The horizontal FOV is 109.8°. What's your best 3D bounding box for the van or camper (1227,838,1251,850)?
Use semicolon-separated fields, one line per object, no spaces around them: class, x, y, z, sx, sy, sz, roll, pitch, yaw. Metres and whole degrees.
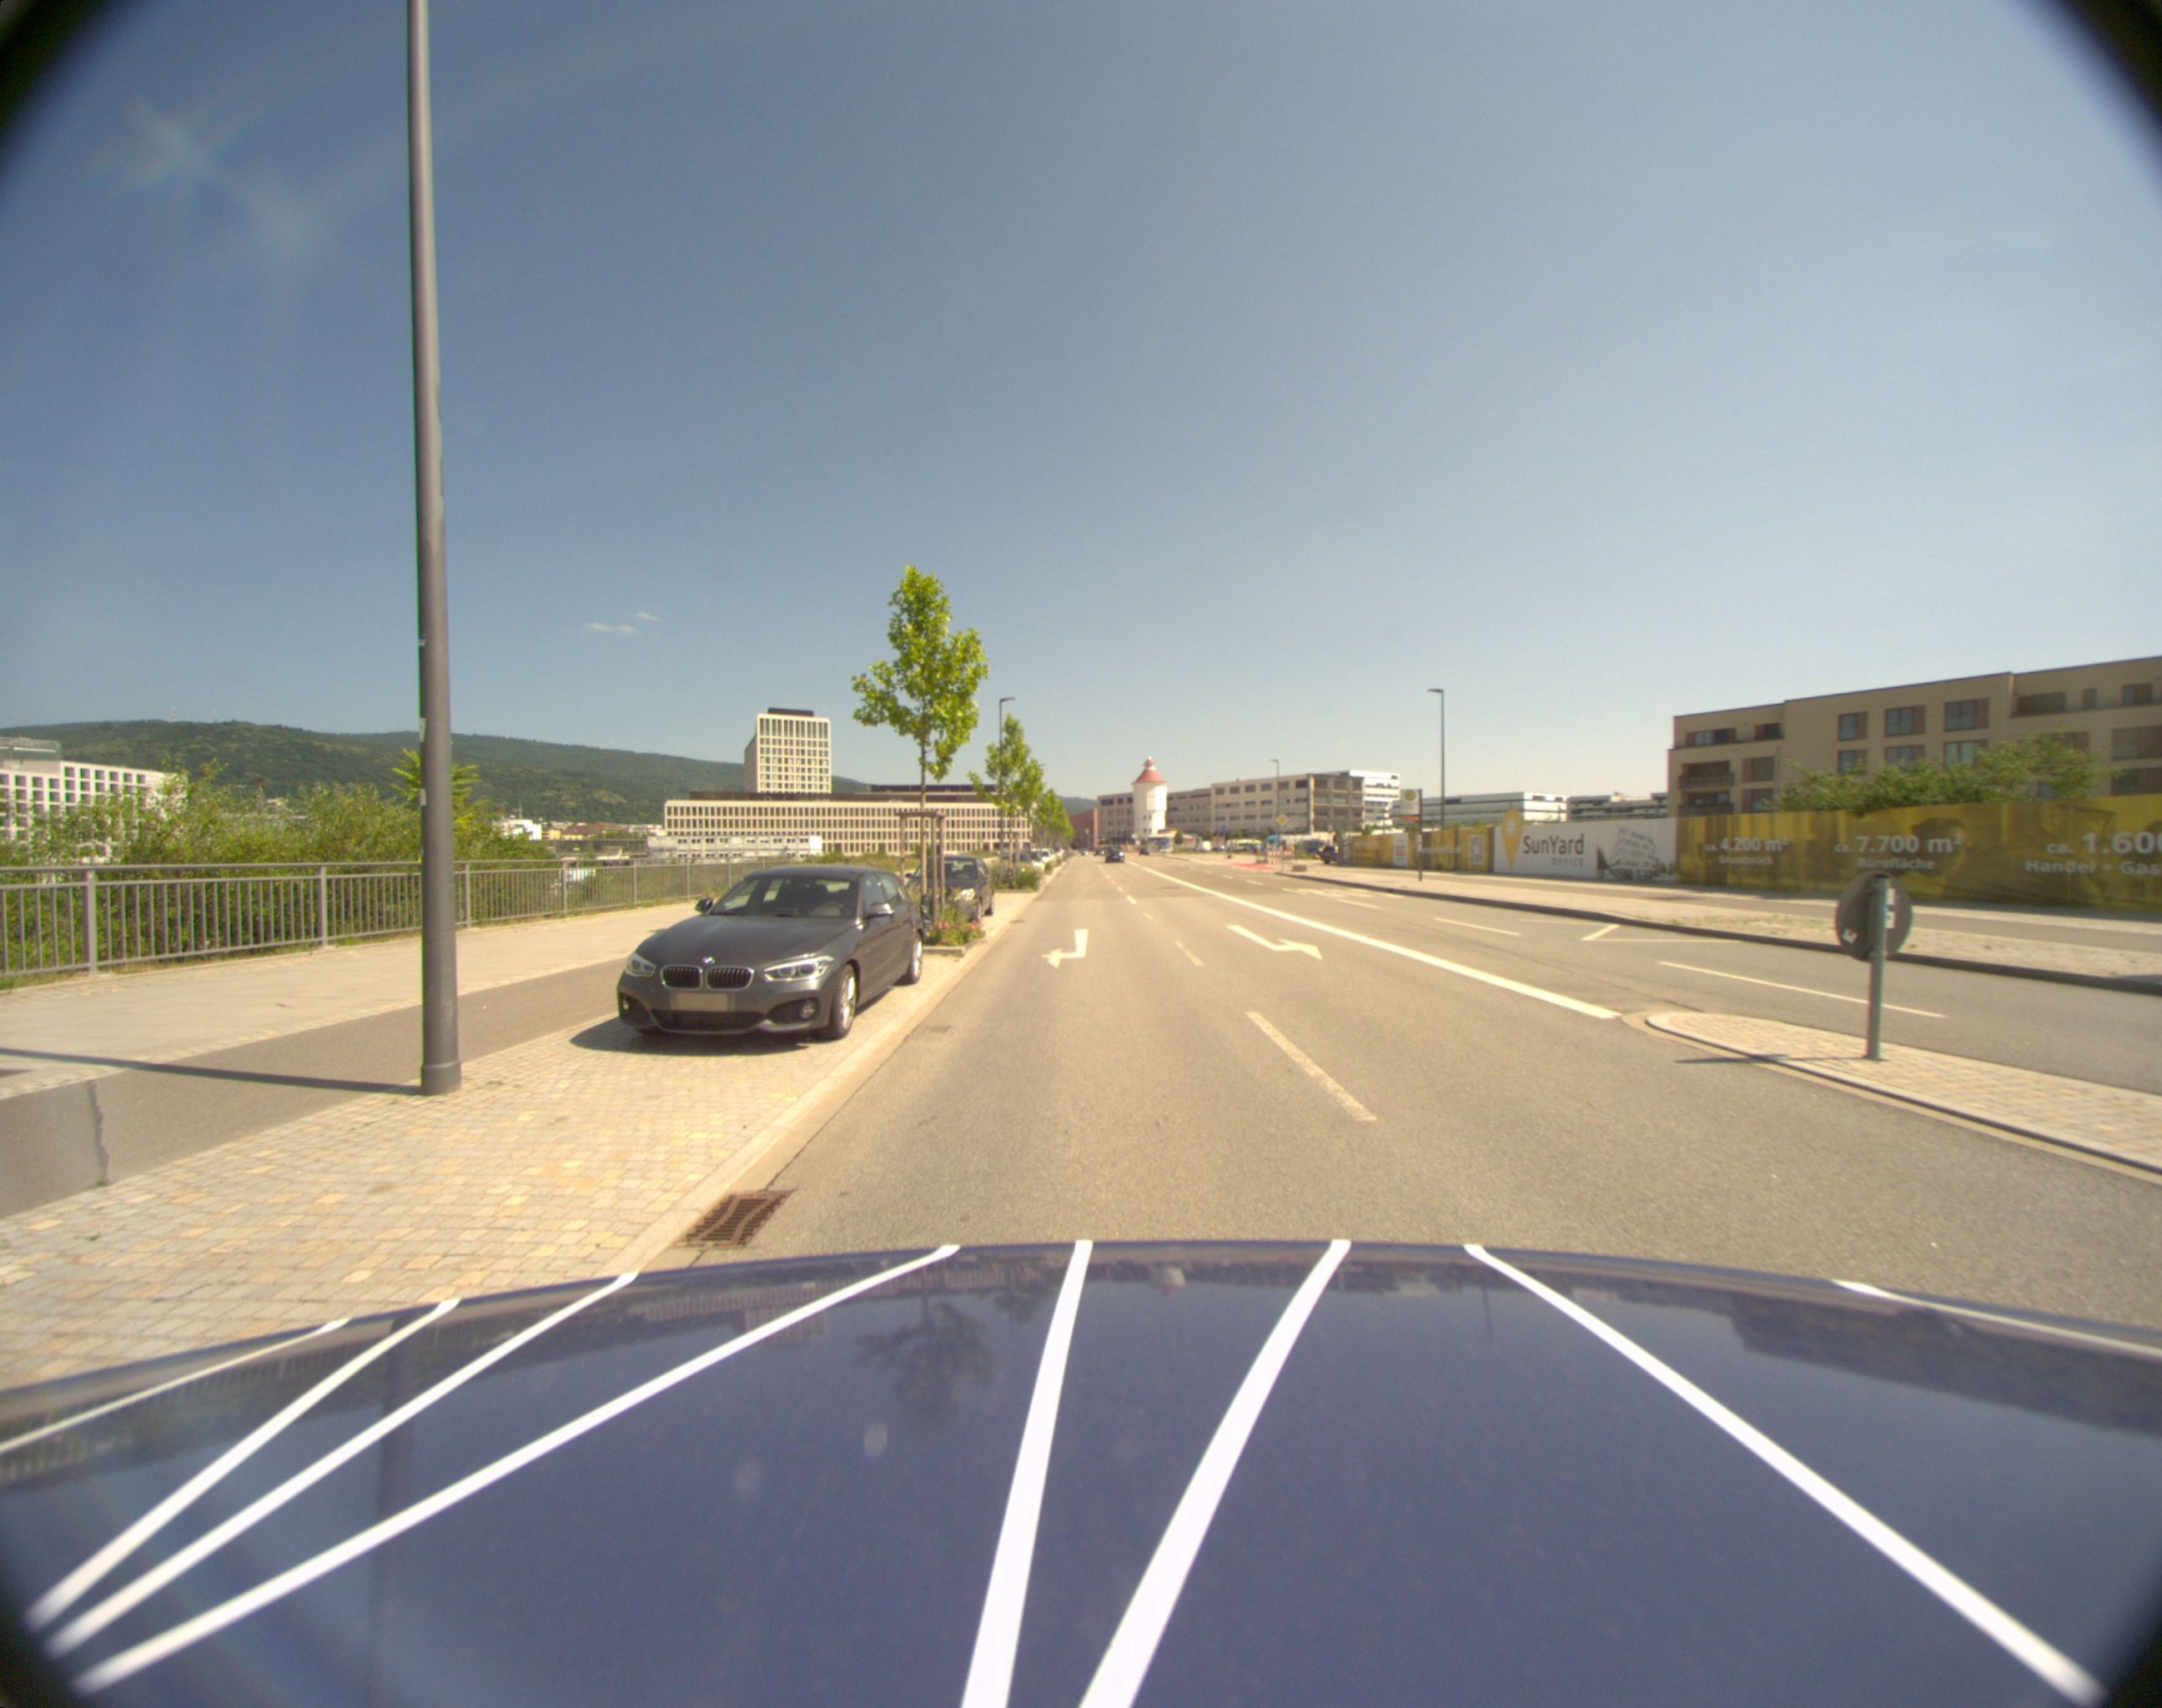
van or camper;35.045;-2.193;168.884;4.912;2.646;2.259;-1;1;0

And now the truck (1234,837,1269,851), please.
truck;35.205;-2.019;156.948;6.655;2.809;2.601;-1;1;-4

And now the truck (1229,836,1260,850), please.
truck;35.499;-2.399;164.774;6.160;2.885;2.569;-2;2;1

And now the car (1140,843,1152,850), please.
car;11.739;-1.351;136.935;1.708;1.344;4.455;0;1;0

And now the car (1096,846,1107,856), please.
car;3.326;-0.503;122.923;1.783;1.552;3.832;-1;0;2

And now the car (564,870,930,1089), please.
car;-2.781;0.931;7.485;1.708;1.393;4.269;1;0;0

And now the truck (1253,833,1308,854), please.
truck;24.306;-1.318;92.743;6.019;2.529;2.275;0;1;0

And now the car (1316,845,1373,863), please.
car;20.180;0.007;58.174;4.255;1.310;1.994;0;1;-35

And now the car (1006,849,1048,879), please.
car;-2.767;0.497;39.801;1.708;1.454;4.085;-1;0;3

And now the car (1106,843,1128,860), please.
car;3.322;-0.229;70.278;1.783;1.553;3.831;0;1;0

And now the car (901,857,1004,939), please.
car;-2.734;0.875;16.991;1.709;1.454;3.952;1;2;-2

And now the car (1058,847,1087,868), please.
car;-0.598;0.242;57.173;1.913;1.470;4.158;0;1;3

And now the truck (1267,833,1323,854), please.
truck;24.047;-1.153;85.517;5.581;2.349;2.274;0;1;-1

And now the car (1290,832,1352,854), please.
car;24.027;-1.100;76.146;5.458;2.161;2.394;0;1;-3

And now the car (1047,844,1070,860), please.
car;-2.223;-0.220;75.164;1.913;1.568;4.158;0;1;3

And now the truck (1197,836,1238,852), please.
truck;39.105;-2.976;218.074;10.951;4.252;3.340;-2;2;-11

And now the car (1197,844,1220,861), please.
car;12.094;-0.122;72.283;1.611;1.469;3.678;1;2;1

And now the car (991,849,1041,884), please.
car;-2.836;0.514;33.816;1.708;1.454;3.954;-1;0;2

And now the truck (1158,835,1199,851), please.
truck;27.620;-3.248;215.095;10.988;4.045;3.296;-3;2;-17
